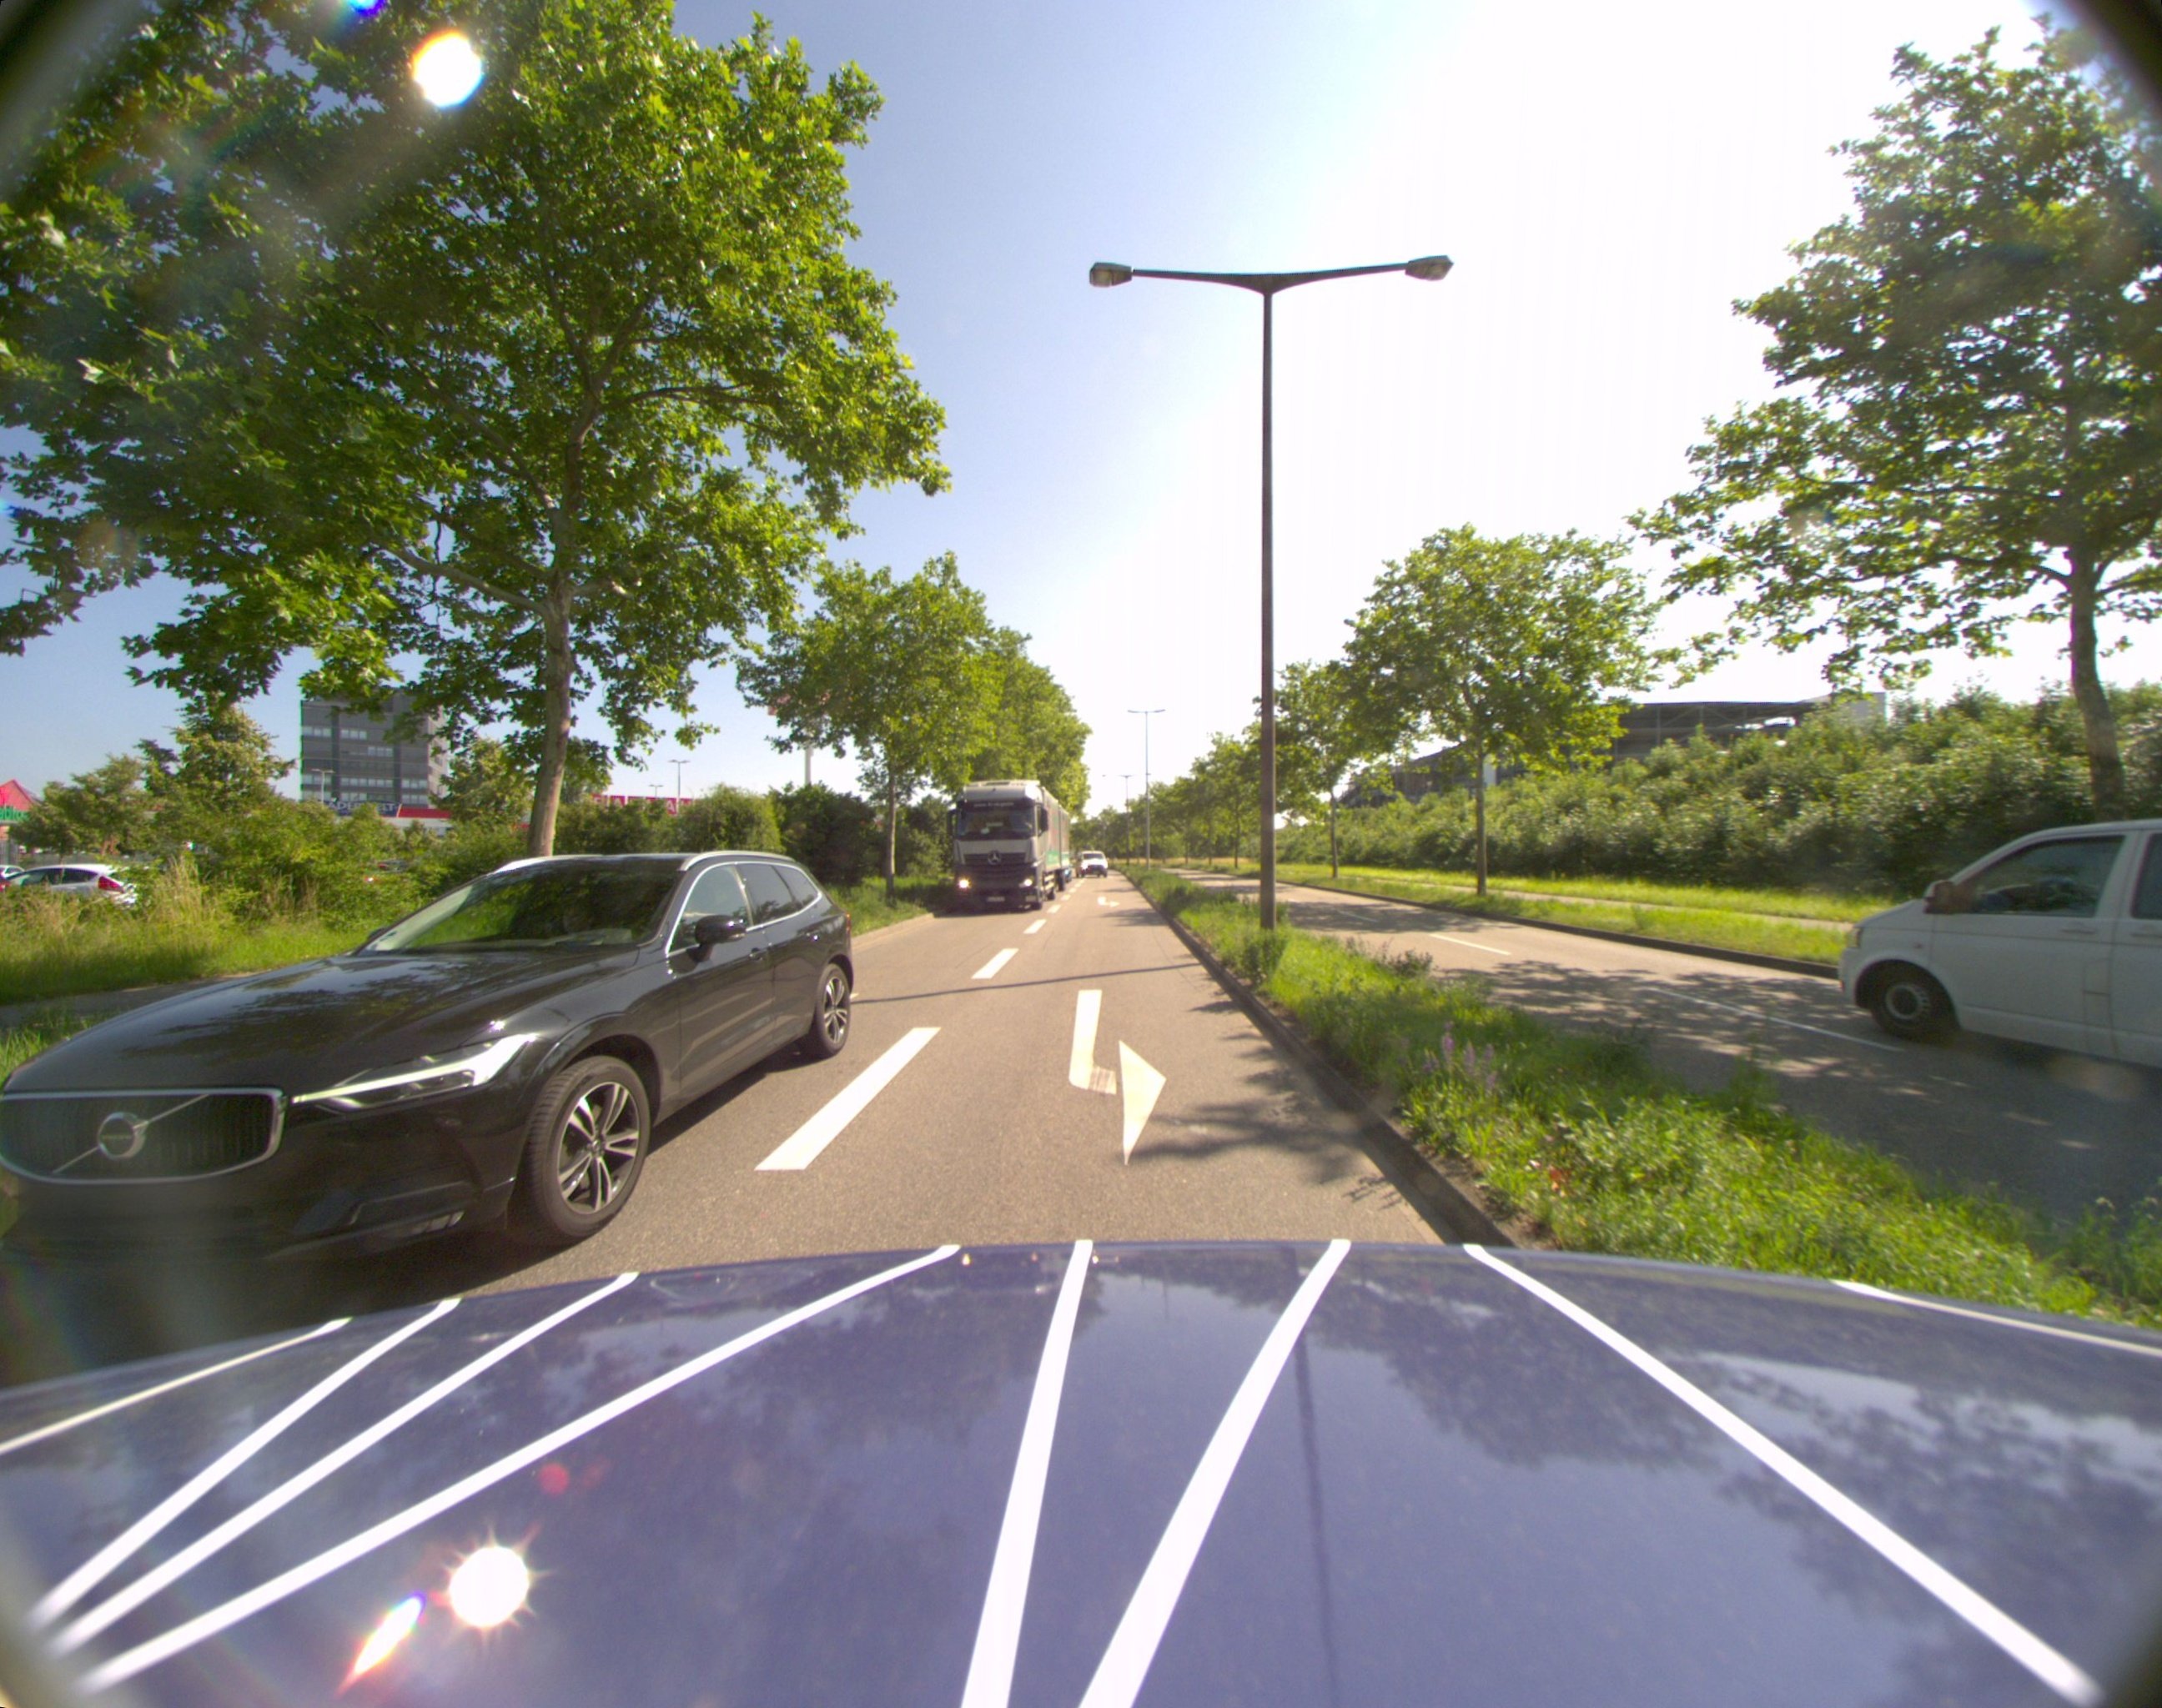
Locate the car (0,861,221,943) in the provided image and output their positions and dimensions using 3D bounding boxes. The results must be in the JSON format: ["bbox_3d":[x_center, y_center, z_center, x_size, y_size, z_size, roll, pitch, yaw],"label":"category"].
[{"bbox_3d":[-22.149,1.045,16.719,4.083,1.582,1.880,-2,1,-2],"label":"car"}]

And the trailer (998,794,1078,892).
[{"bbox_3d":[-1.708,-0.489,33.946,2.743,3.854,7.736,-1,1,3],"label":"trailer"}]

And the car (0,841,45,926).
[{"bbox_3d":[-22.171,0.624,13.726,4.083,1.582,1.880,-2,1,-2],"label":"car"}]

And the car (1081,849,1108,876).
[{"bbox_3d":[0.994,0.566,55.684,1.872,1.889,4.881,0,0,1],"label":"car"}]

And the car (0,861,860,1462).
[{"bbox_3d":[-2.920,0.915,4.368,1.879,1.582,4.433,-2,1,1],"label":"car"}]

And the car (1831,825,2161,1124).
[{"bbox_3d":[7.819,0.782,4.655,1.998,1.887,4.575,1,0,3],"label":"car"}]

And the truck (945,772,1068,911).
[{"bbox_3d":[-2.169,-0.387,25.688,2.735,3.867,8.723,-1,1,3],"label":"truck"}]
